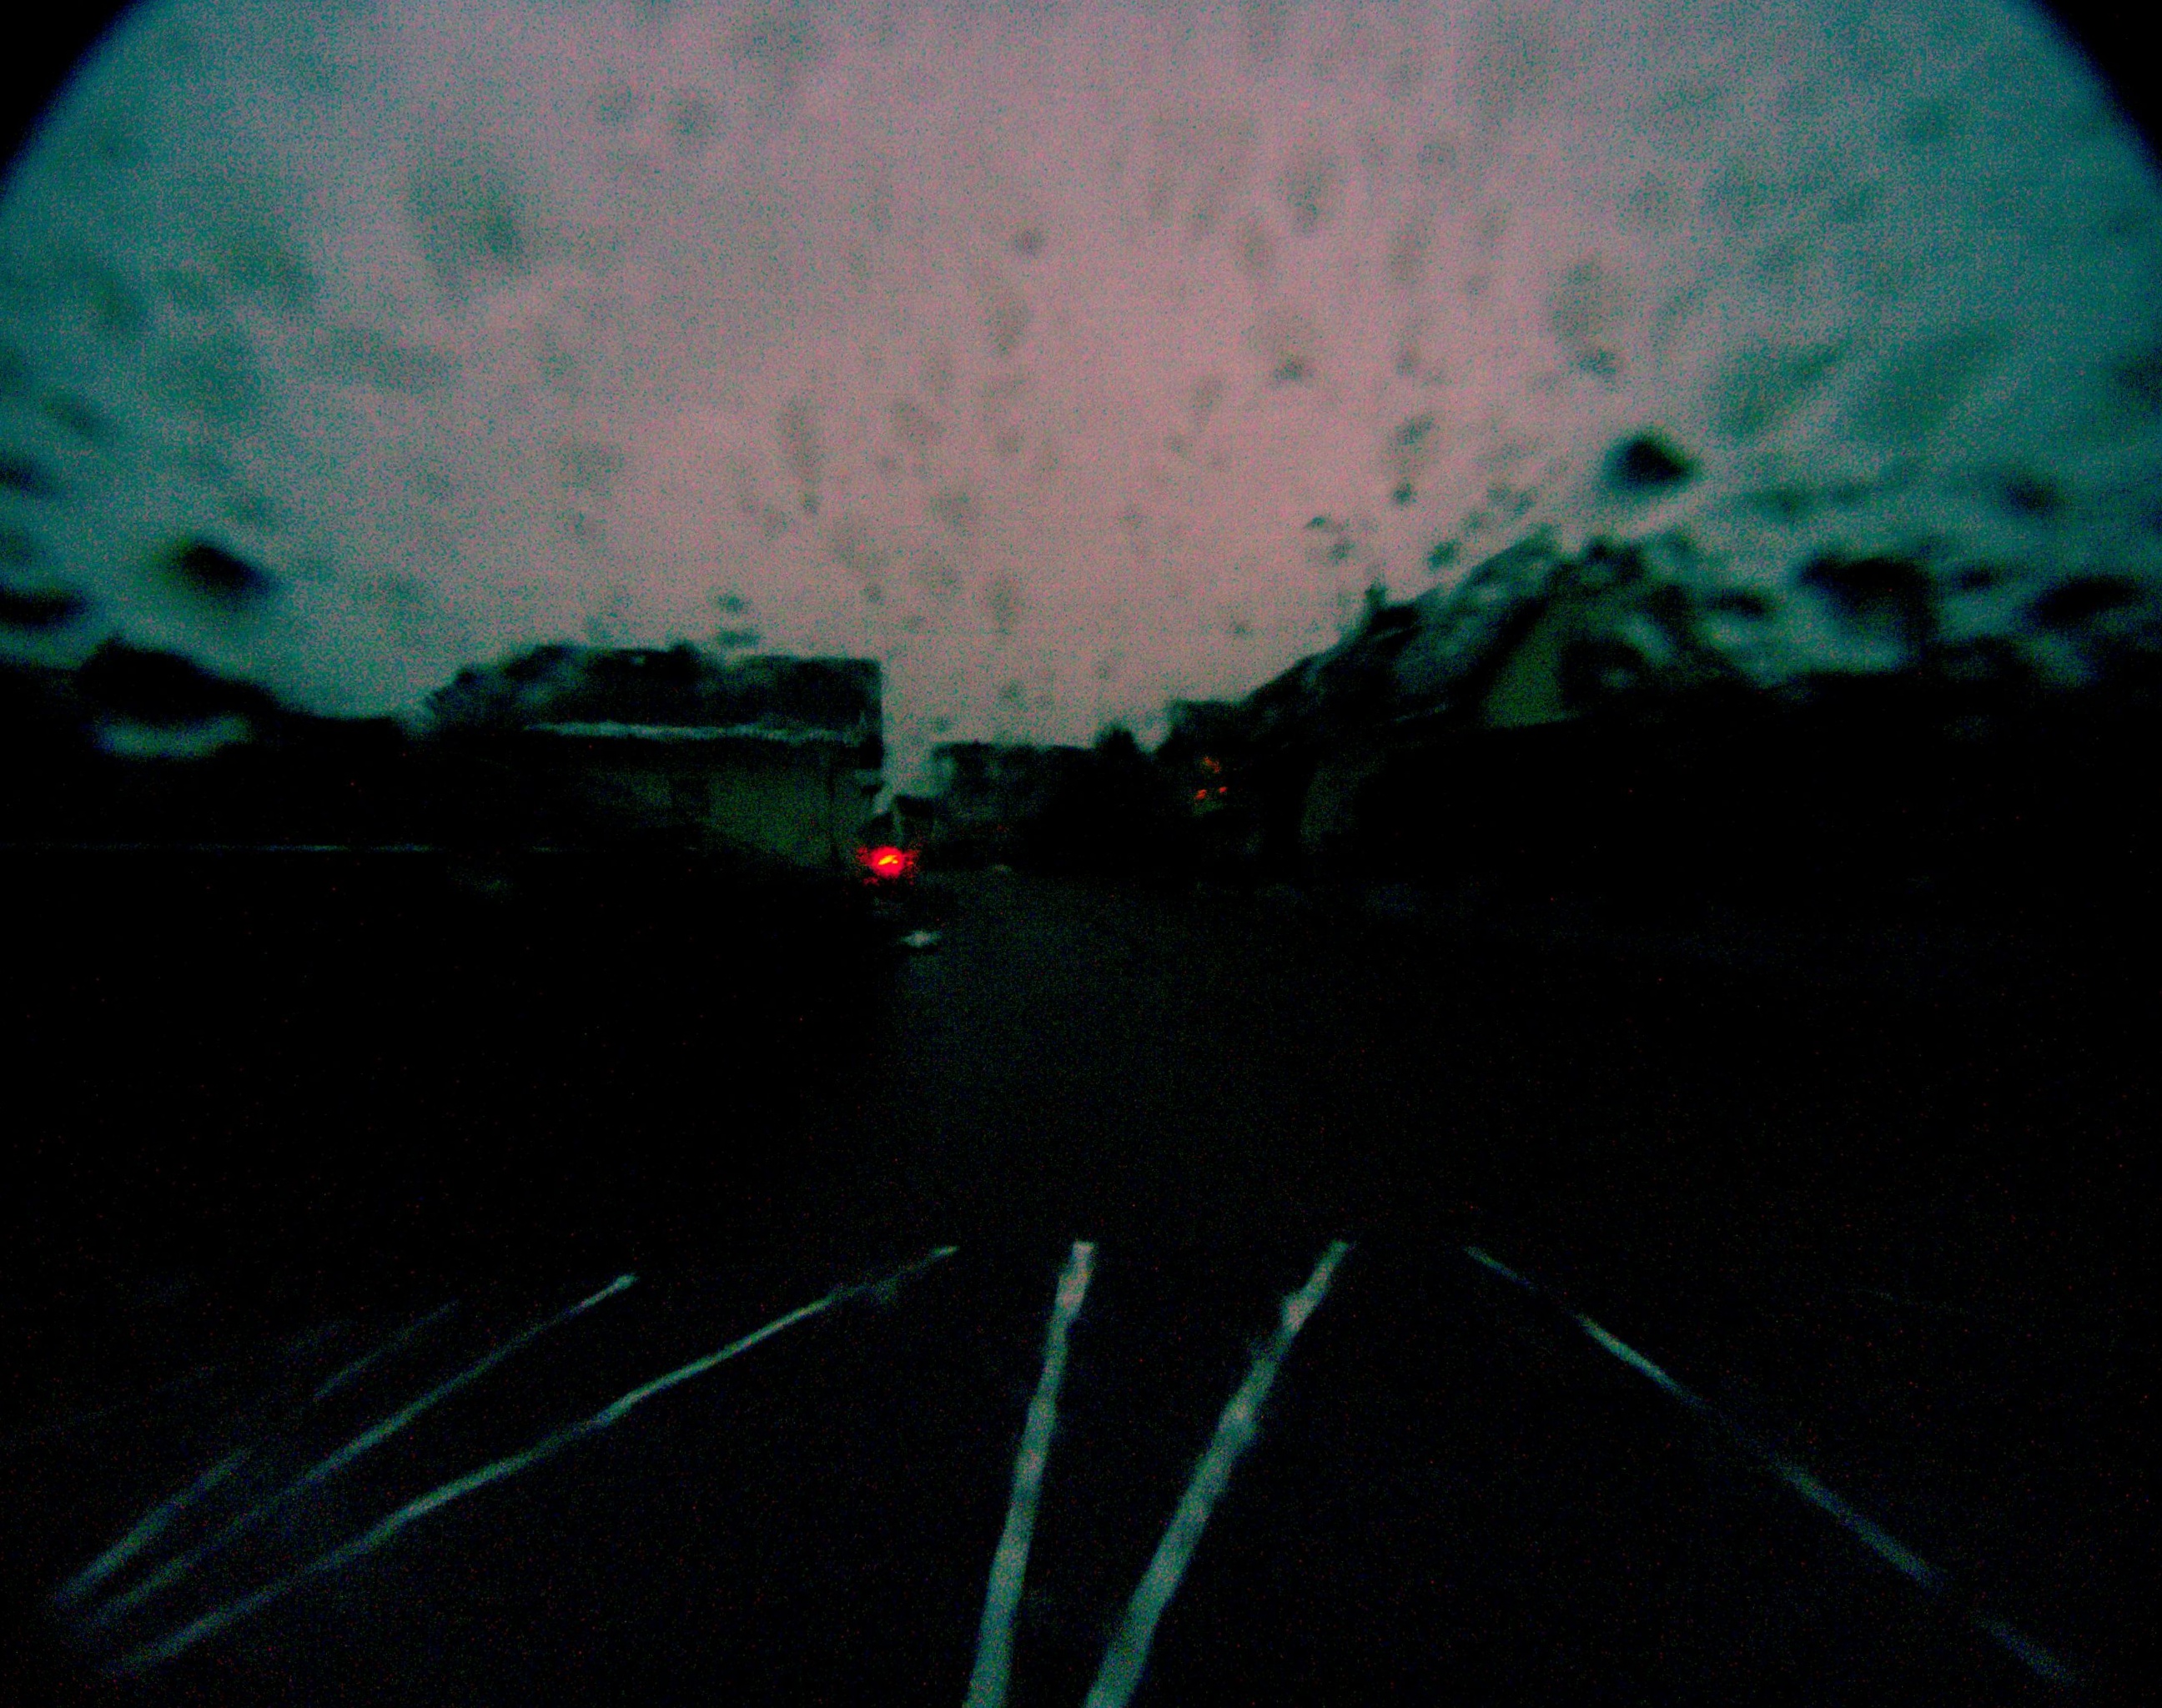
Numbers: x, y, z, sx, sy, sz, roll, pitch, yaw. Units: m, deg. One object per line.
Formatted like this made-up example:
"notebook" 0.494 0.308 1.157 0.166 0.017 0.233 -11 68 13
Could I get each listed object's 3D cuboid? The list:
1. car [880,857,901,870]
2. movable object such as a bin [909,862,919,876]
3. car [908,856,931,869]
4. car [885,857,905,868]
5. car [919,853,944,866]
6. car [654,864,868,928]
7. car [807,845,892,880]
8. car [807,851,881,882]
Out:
"car" -23.856 1.179 95.063 1.781 1.486 4.371 0 -1 -23
"movable object such as a bin" -12.655 1.137 57.633 0.617 0.941 0.594 2 1 -18
"car" -18.217 0.938 85.802 1.672 1.409 3.683 -3 1 -25
"car" -24.819 1.115 101.183 1.742 1.435 4.430 -1 0 -26
"car" -16.203 0.595 82.180 1.675 1.401 3.906 -2 0 -25
"car" -7.716 0.987 18.764 4.519 1.435 1.998 0 0 -9
"car" -12.894 0.488 42.282 4.299 1.448 1.776 7 -1 -19
"car" -14.360 0.739 46.072 4.007 1.448 1.687 7 -2 -23
